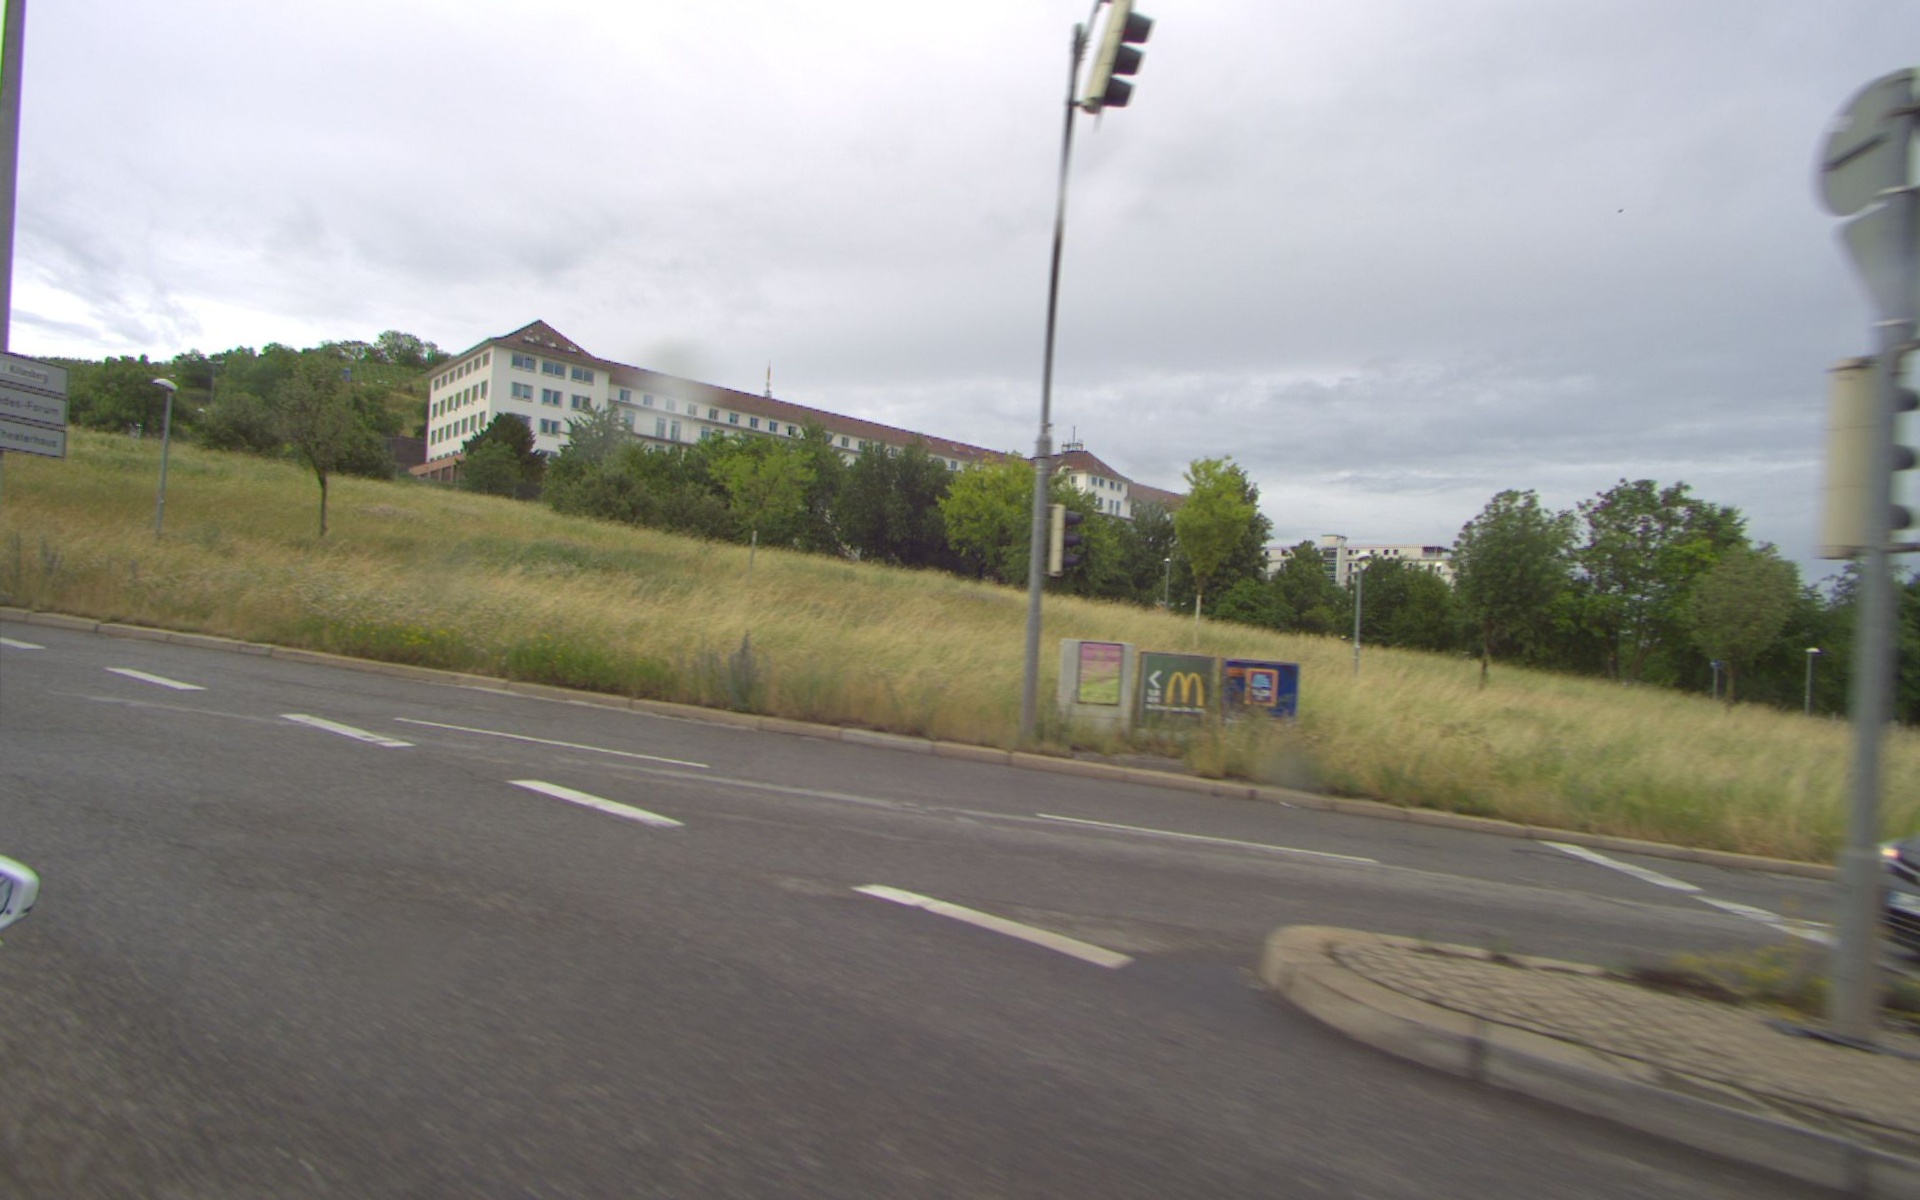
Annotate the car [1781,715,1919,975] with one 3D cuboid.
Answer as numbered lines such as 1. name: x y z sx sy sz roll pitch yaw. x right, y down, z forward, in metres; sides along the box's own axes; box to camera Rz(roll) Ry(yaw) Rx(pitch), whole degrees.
1. car: 8.745 1.953 6.821 4.542 1.661 2.002 7 -2 2
